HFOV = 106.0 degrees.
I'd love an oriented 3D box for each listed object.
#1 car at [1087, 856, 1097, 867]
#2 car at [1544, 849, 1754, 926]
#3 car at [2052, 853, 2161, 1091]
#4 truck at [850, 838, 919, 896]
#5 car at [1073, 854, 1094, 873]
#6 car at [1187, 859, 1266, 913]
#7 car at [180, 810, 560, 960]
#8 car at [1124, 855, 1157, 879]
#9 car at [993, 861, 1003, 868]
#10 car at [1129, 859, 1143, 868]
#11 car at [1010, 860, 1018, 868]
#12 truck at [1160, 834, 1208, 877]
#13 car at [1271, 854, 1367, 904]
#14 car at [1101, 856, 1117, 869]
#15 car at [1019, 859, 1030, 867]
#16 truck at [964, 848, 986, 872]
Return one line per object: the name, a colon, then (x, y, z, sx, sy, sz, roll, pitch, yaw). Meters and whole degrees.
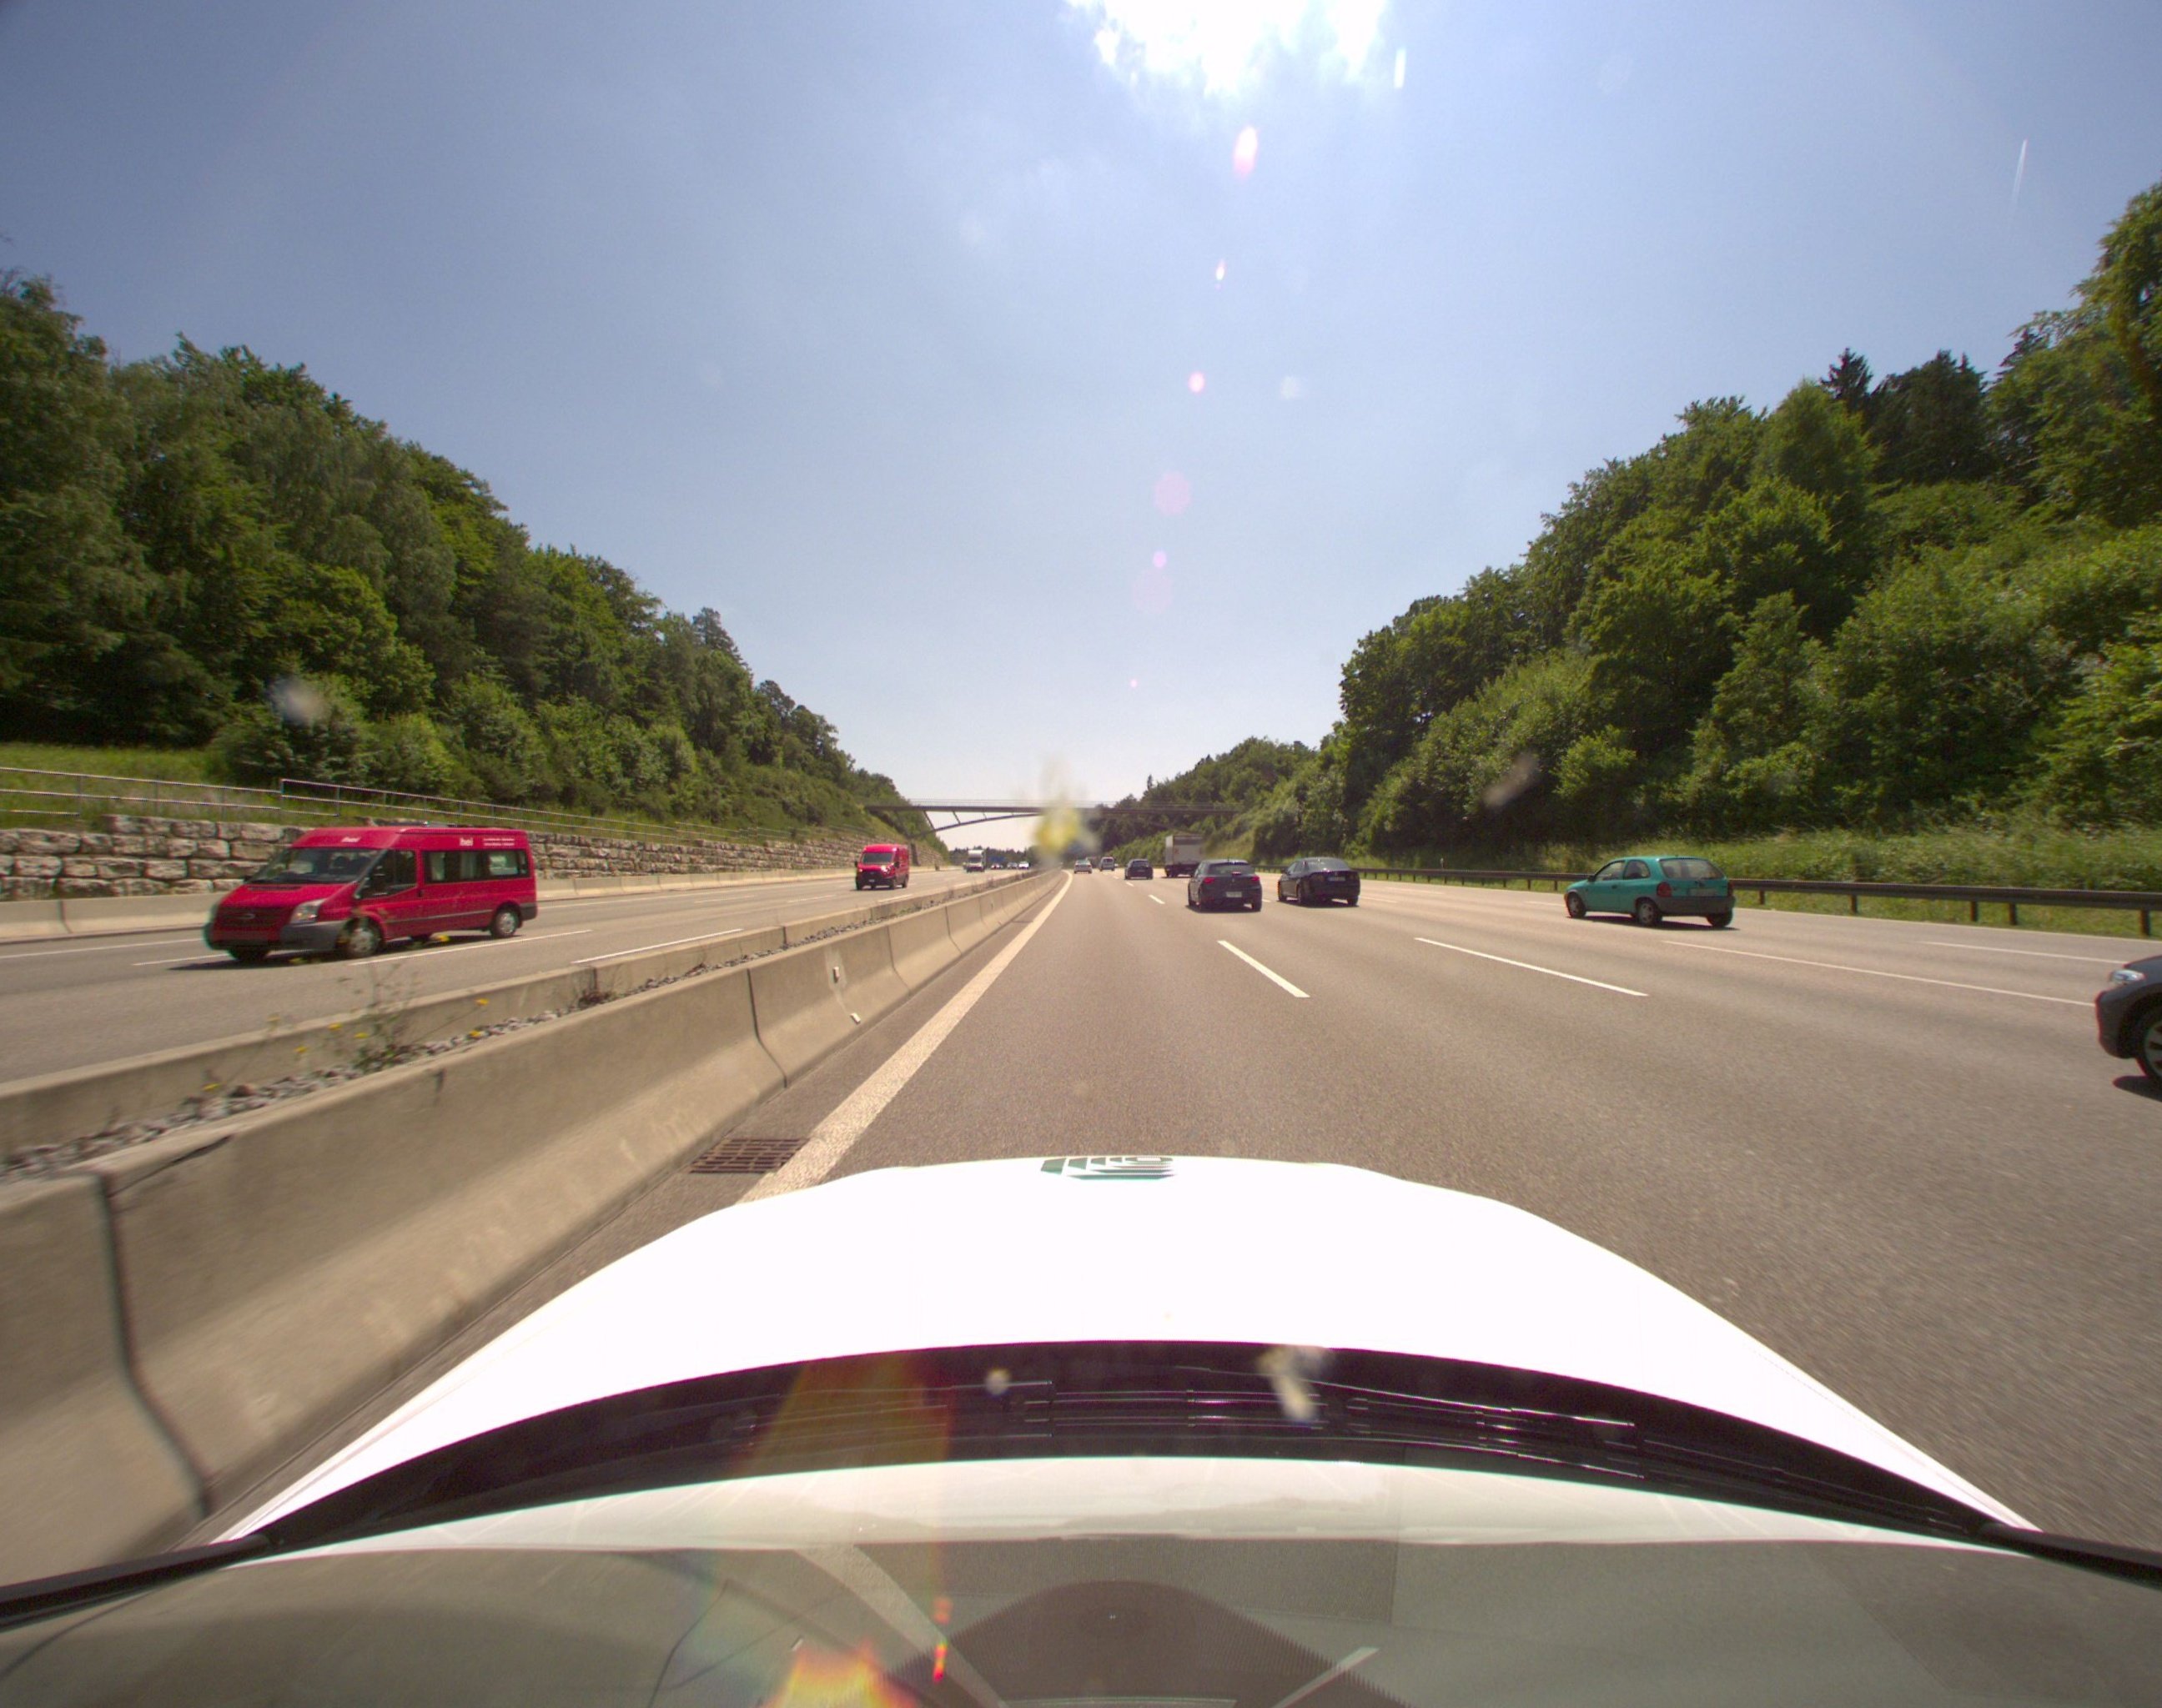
car: (2.497, 1.711, 182.080, 2.258, 2.371, 4.701, -1, -1, 0)
car: (11.952, 0.648, 17.546, 1.539, 1.444, 4.341, -1, 0, 1)
car: (7.147, 0.673, 3.231, 1.696, 1.396, 4.155, -1, 0, 1)
truck: (-10.740, 0.620, 45.158, 2.103, 2.976, 7.014, 0, 1, 0)
car: (0.224, 1.057, 87.650, 2.008, 1.846, 3.994, 0, -4, -3)
car: (4.151, 0.870, 23.780, 1.701, 1.433, 4.001, 0, 0, 2)
car: (-12.779, 0.467, 15.412, 1.986, 2.287, 5.804, 0, 0, 1)
car: (4.246, 0.872, 58.668, 1.987, 1.634, 4.758, -1, 0, 0)
car: (-19.345, 2.530, 189.796, 1.988, 1.618, 3.998, -1, 0, -1)
car: (9.434, 1.622, 140.247, 1.988, 1.593, 3.997, 1, -1, -2)
car: (-14.603, 2.153, 177.347, 1.649, 1.550, 3.997, 1, 1, -2)
truck: (7.970, 0.134, 63.902, 2.975, 3.167, 7.576, -1, 0, 1)
car: (7.363, 0.713, 25.660, 1.659, 1.408, 4.904, -1, 0, 1)
car: (3.755, 1.137, 108.684, 2.096, 1.744, 4.688, -1, 0, 1)
car: (-11.038, 1.824, 159.877, 1.895, 1.496, 4.802, -1, 0, -2)
truck: (-14.496, 0.854, 111.251, 2.270, 3.143, 6.914, 0, 0, -2)
